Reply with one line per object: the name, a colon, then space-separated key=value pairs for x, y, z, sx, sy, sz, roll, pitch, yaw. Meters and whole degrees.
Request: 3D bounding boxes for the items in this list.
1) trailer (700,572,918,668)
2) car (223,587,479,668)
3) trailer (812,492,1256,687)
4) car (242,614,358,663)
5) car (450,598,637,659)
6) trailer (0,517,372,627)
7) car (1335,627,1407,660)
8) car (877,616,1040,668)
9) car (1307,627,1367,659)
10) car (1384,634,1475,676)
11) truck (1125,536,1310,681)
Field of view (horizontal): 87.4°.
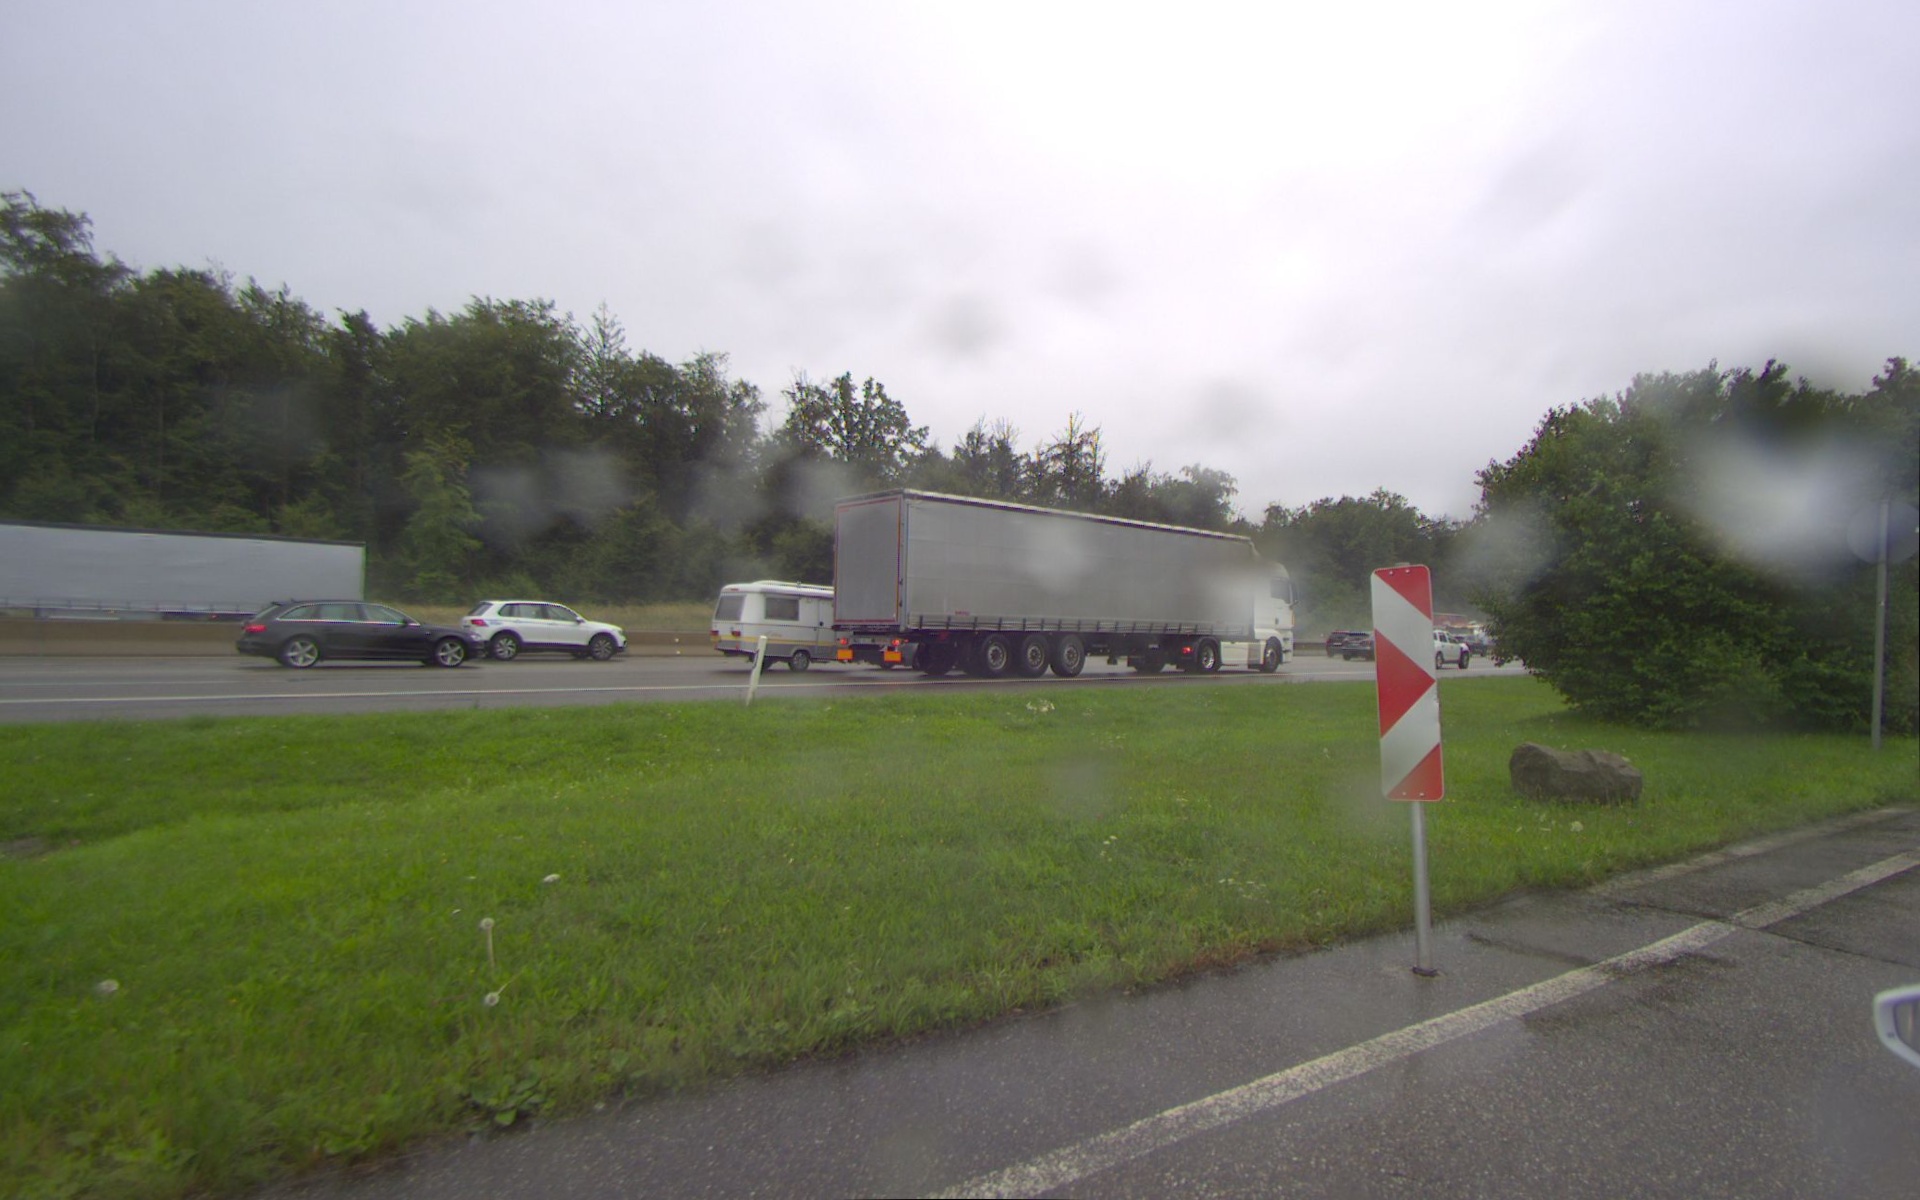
trailer: x=-3.725 y=0.578 z=25.492 sx=5.139 sy=2.184 sz=2.110 roll=3 pitch=-3 yaw=-41
car: x=-13.134 y=0.641 z=21.810 sx=4.492 sy=1.560 sz=1.977 roll=4 pitch=-3 yaw=-40
trailer: x=2.778 y=0.123 z=26.549 sx=14.016 sy=4.034 sz=2.869 roll=3 pitch=-3 yaw=-42
car: x=-23.172 y=1.328 z=35.317 sx=3.254 sy=1.350 sz=1.396 roll=-3 pitch=8 yaw=-41
car: x=-11.757 y=0.834 z=28.491 sx=4.491 sy=1.560 sz=1.977 roll=3 pitch=-2 yaw=-40
trailer: x=-29.677 y=-0.956 z=36.600 sx=13.948 sy=3.586 sz=2.700 roll=1 pitch=4 yaw=-41
car: x=22.330 y=2.397 z=54.548 sx=4.428 sy=1.685 sz=1.908 roll=3 pitch=-2 yaw=-43
car: x=0.032 y=1.196 z=28.482 sx=4.546 sy=1.366 sz=1.830 roll=3 pitch=-3 yaw=-41
car: x=23.040 y=2.633 z=61.402 sx=3.969 sy=1.773 sz=1.693 roll=2 pitch=0 yaw=-41
car: x=19.087 y=2.214 z=40.776 sx=4.289 sy=1.607 sz=1.771 roll=3 pitch=-3 yaw=-40
truck: x=8.144 y=0.391 z=31.463 sx=5.892 sy=4.105 sz=2.846 roll=3 pitch=-3 yaw=-42
